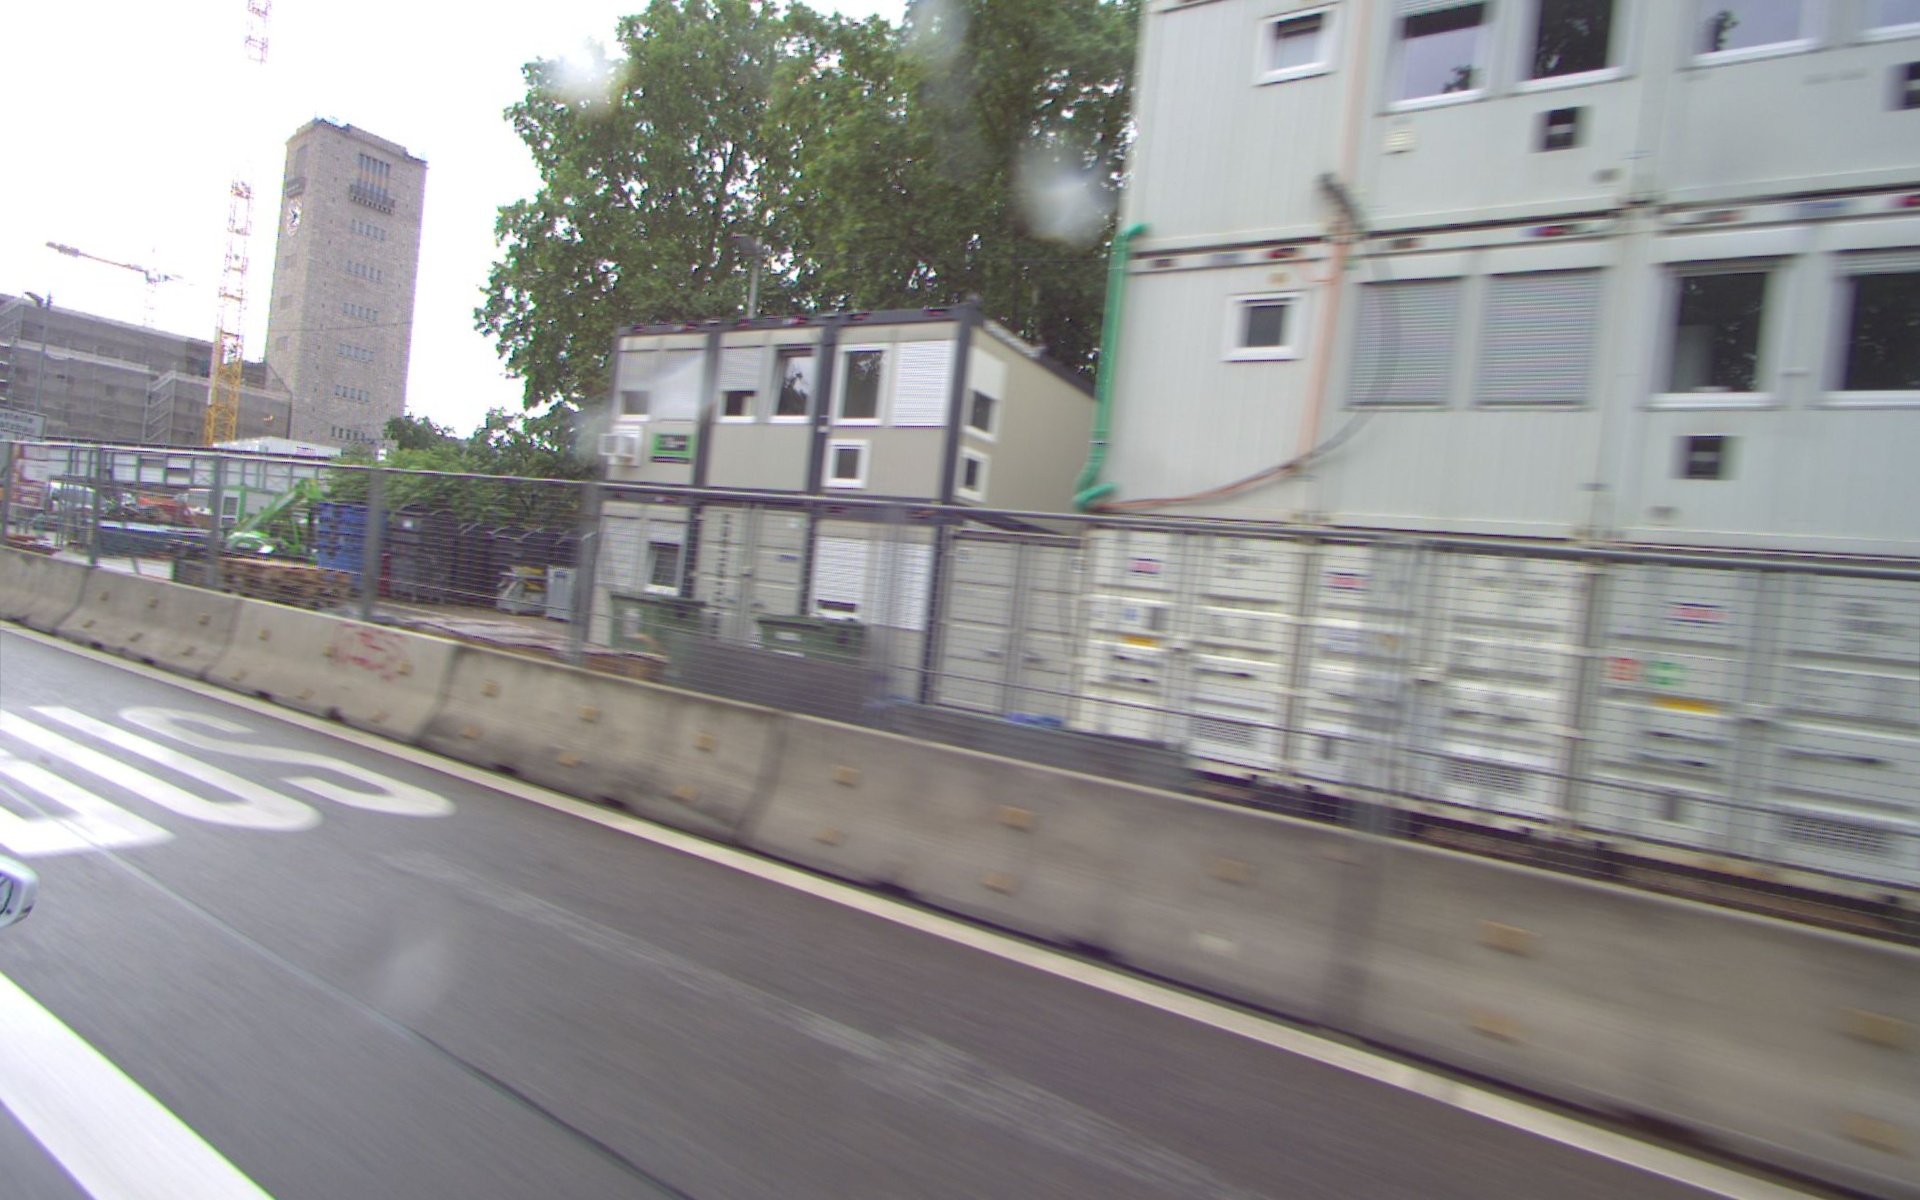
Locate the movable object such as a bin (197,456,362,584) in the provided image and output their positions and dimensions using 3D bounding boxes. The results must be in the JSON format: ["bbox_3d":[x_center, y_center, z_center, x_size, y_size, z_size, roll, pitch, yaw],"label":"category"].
[{"bbox_3d":[-18.116,-2.122,26.773,3.798,2.845,1.810,8,1,27],"label":"movable object such as a bin"}]

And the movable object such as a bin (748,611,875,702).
[{"bbox_3d":[-2.097,0.783,14.292,1.219,1.137,1.247,4,1,31],"label":"movable object such as a bin"}]

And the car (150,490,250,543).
[{"bbox_3d":[-42.095,-4.627,55.685,5.505,2.344,2.048,6,2,25],"label":"car"}]

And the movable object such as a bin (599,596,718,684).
[{"bbox_3d":[-4.739,0.611,15.859,1.219,1.253,1.247,4,1,31],"label":"movable object such as a bin"}]

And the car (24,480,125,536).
[{"bbox_3d":[-39.031,-4.071,44.304,5.001,1.829,1.848,8,1,32],"label":"car"}]

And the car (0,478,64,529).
[{"bbox_3d":[-44.275,-4.614,46.918,5.072,1.999,1.916,6,0,27],"label":"car"}]

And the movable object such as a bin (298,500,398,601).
[{"bbox_3d":[-14.990,-1.181,24.703,1.241,2.231,1.461,8,1,9],"label":"movable object such as a bin"}]

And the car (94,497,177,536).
[{"bbox_3d":[-43.956,-4.469,53.619,3.865,1.641,1.942,6,2,26],"label":"car"}]
